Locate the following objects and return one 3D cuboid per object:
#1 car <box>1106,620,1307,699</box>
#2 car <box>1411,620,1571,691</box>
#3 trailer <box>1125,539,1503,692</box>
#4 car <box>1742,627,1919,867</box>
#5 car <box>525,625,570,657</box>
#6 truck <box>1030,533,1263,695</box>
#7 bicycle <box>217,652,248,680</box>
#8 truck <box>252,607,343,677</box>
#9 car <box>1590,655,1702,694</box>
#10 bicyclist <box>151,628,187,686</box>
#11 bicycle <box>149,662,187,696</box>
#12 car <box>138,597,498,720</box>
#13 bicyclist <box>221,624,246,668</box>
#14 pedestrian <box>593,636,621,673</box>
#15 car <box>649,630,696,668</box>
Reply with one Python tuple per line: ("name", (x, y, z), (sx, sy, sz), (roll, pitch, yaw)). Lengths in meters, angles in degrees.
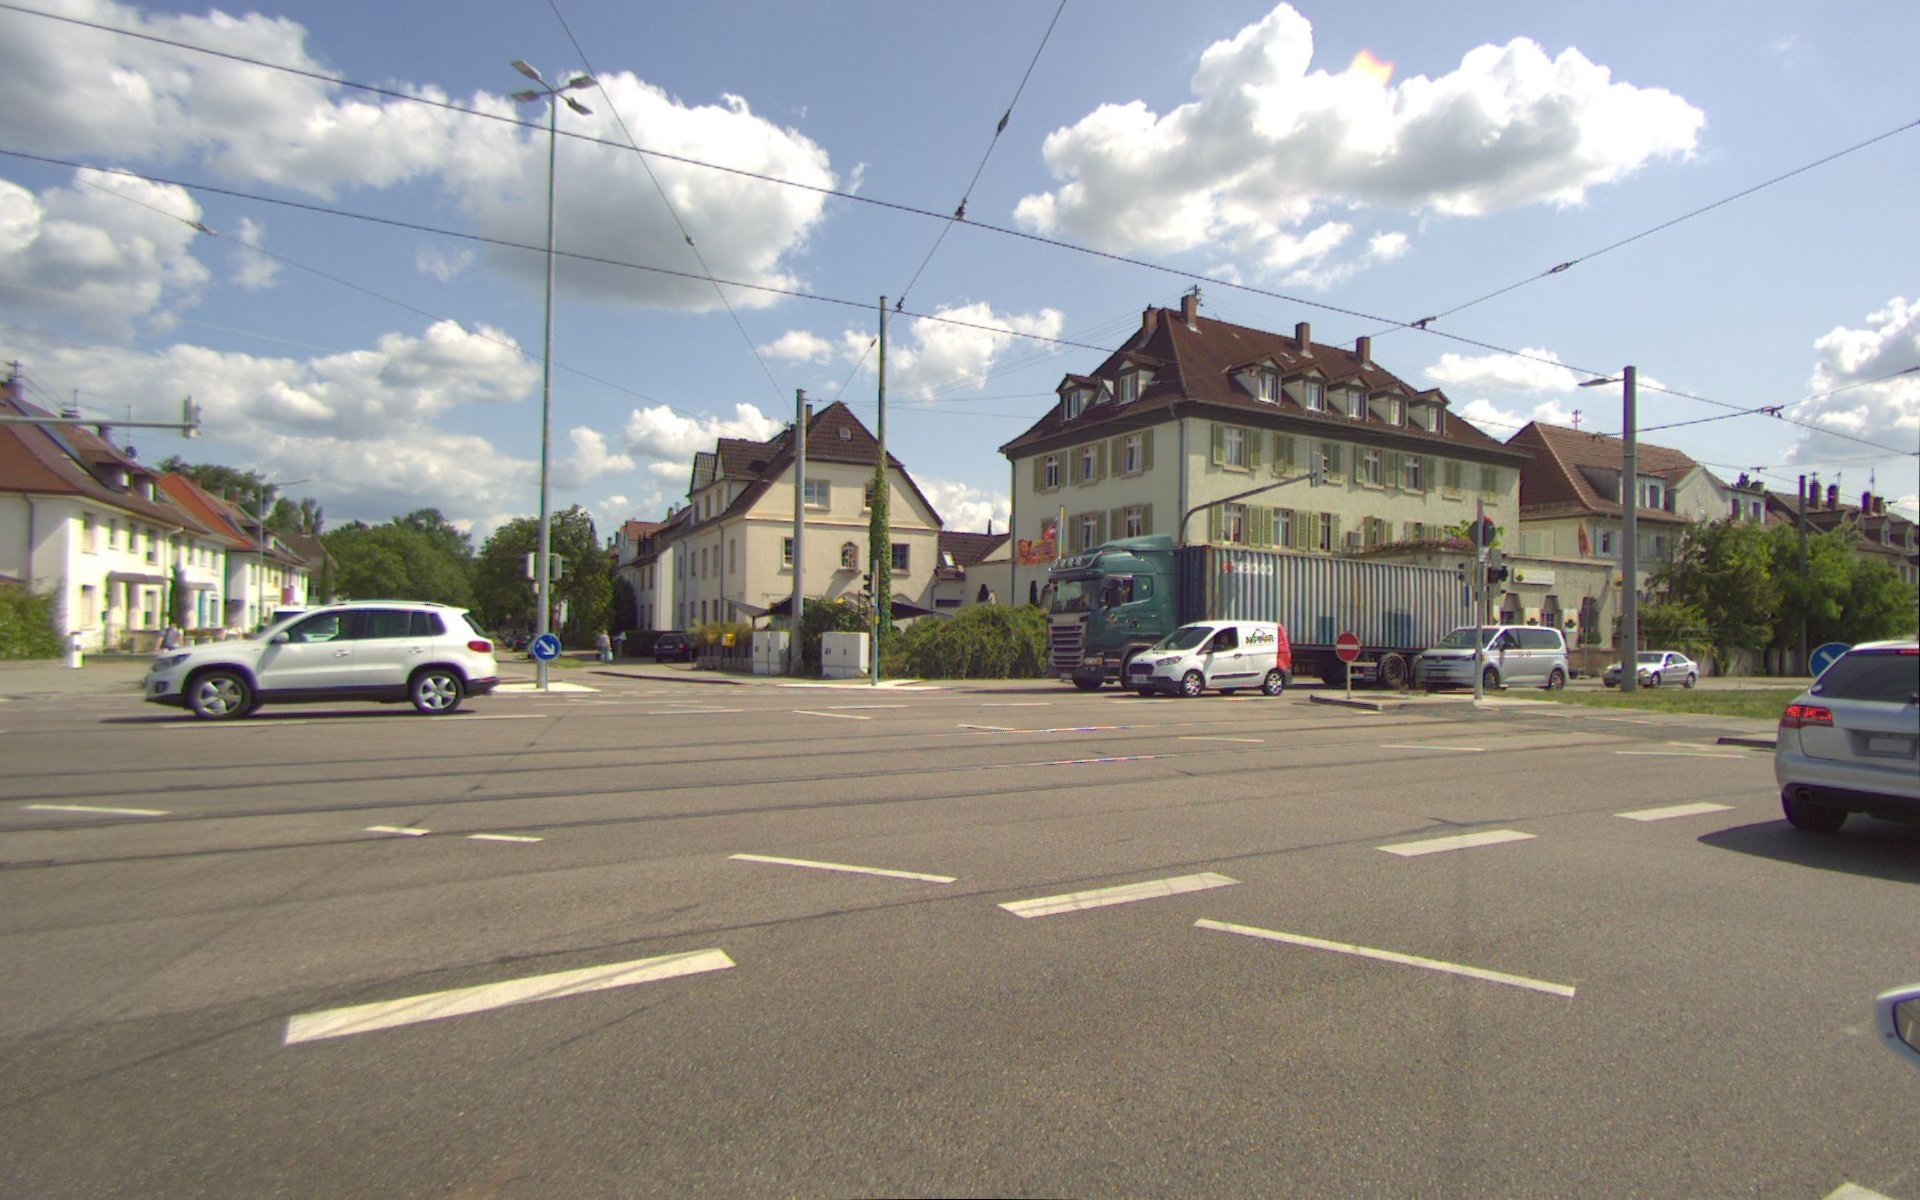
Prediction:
("car", (5.651, 1.361, 22.880), (4.416, 1.658, 1.787), (2, -3, -28))
("car", (14.813, 1.545, 27.965), (4.658, 1.839, 1.786), (3, -3, -31))
("trailer", (10.744, 0.552, 29.544), (12.675, 3.871, 2.589), (1, -3, -28))
("car", (8.031, 1.015, 7.605), (4.668, 1.491, 1.785), (2, -1, -31))
("car", (-24.025, 2.351, 58.421), (1.976, 1.617, 3.969), (3, 0, -29))
("truck", (4.915, 0.444, 26.433), (5.595, 3.871, 2.590), (1, -3, -28))
("bicycle", (-25.899, 2.341, 35.758), (0.595, 0.846, 1.797), (2, 0, -27))
("truck", (-21.359, 1.290, 32.606), (1.668, 1.947, 6.162), (2, 0, -27))
("car", (26.339, 2.853, 38.542), (4.417, 1.405, 1.787), (3, -3, -29))
("bicyclist", (-21.608, 1.548, 27.447), (0.595, 1.528, 0.641), (2, 0, -28))
("bicycle", (-21.635, 2.148, 27.441), (0.595, 0.846, 1.075), (2, 0, -27))
("car", (-9.157, 0.895, 14.746), (4.128, 1.572, 1.985), (3, -5, -30))
("bicyclist", (-25.890, 1.633, 35.789), (0.595, 1.517, 0.498), (2, 0, -28))
("pedestrian", (-16.727, 2.597, 47.635), (1.018, 1.670, 0.922), (2, 0, -9))
("car", (-14.604, 2.467, 51.209), (1.900, 1.690, 4.279), (2, 0, -11))
